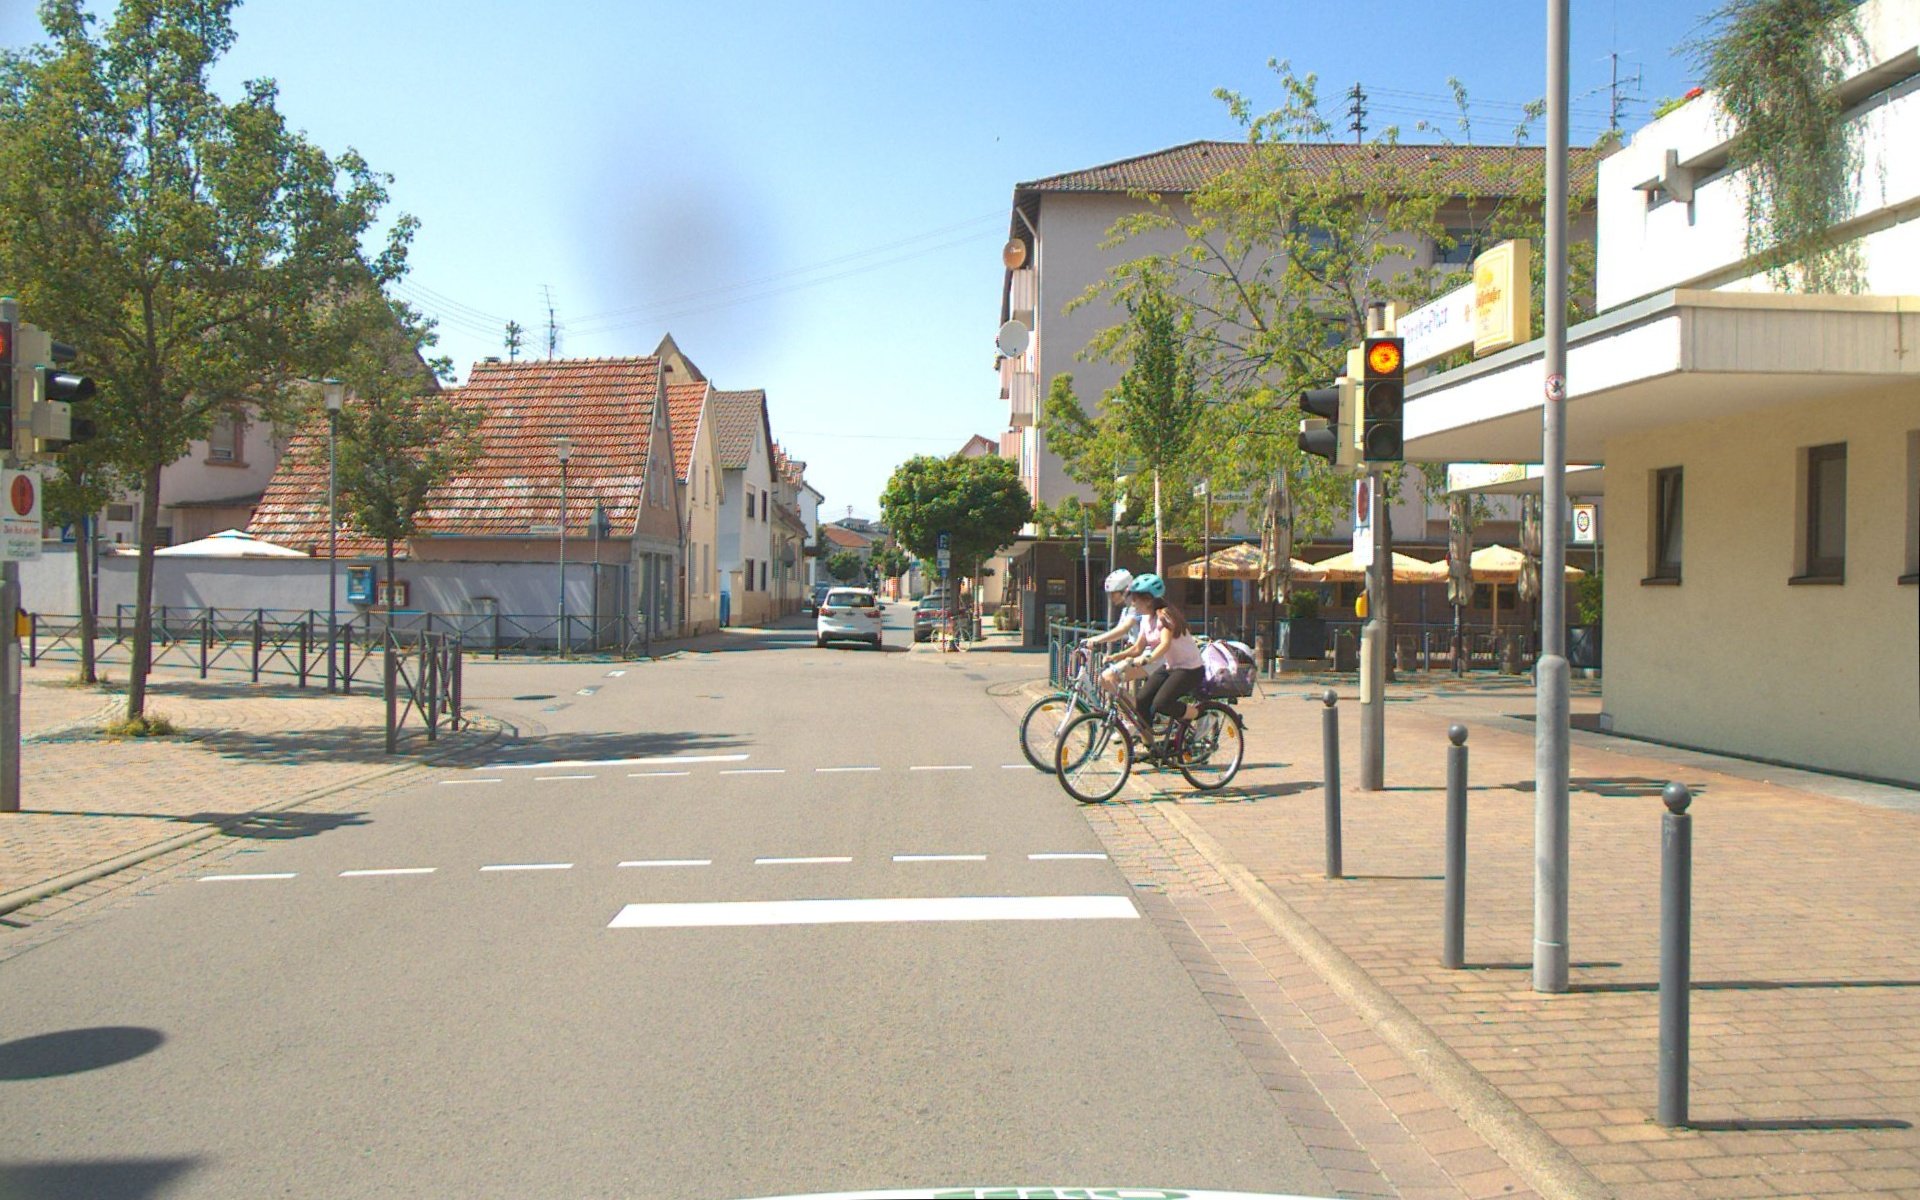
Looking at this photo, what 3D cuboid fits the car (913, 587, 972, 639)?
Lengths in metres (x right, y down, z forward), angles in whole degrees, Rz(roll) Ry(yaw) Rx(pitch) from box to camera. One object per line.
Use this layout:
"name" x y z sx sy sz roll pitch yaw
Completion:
"car" -0.523 0.386 52.141 1.768 1.527 4.001 0 1 1

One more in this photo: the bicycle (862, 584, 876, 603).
"bicycle" -4.961 -0.353 90.265 0.651 1.024 1.897 0 0 -1

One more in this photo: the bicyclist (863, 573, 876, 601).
"bicyclist" -4.949 -0.710 90.189 0.659 1.509 0.770 0 0 -2

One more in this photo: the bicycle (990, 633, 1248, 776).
"bicycle" 1.228 0.783 12.802 1.858 0.974 0.673 -2 1 -15

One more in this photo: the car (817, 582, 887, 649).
"car" -3.040 0.382 45.887 1.798 1.680 3.996 2 1 -5

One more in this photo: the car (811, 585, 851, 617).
"car" -6.437 0.037 82.922 1.678 1.543 3.786 0 0 0

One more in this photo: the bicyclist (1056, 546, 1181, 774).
"bicyclist" 1.216 0.443 12.799 0.746 1.693 0.668 -2 0 -15

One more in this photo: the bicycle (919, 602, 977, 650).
"bicycle" -0.327 0.667 43.427 0.523 1.214 1.648 0 0 -44

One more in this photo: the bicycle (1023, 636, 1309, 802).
"bicycle" 1.421 0.785 11.351 1.865 0.974 0.671 -2 1 -24

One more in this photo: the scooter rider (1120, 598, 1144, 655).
"scooter rider" 3.987 0.613 38.321 0.505 1.308 0.418 0 0 14

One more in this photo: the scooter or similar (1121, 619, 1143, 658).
"scooter or similar" 3.988 0.891 38.327 0.371 0.889 0.891 0 0 13

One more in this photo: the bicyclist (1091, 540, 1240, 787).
"bicyclist" 1.405 0.410 11.343 0.749 1.609 0.666 -2 1 -24
